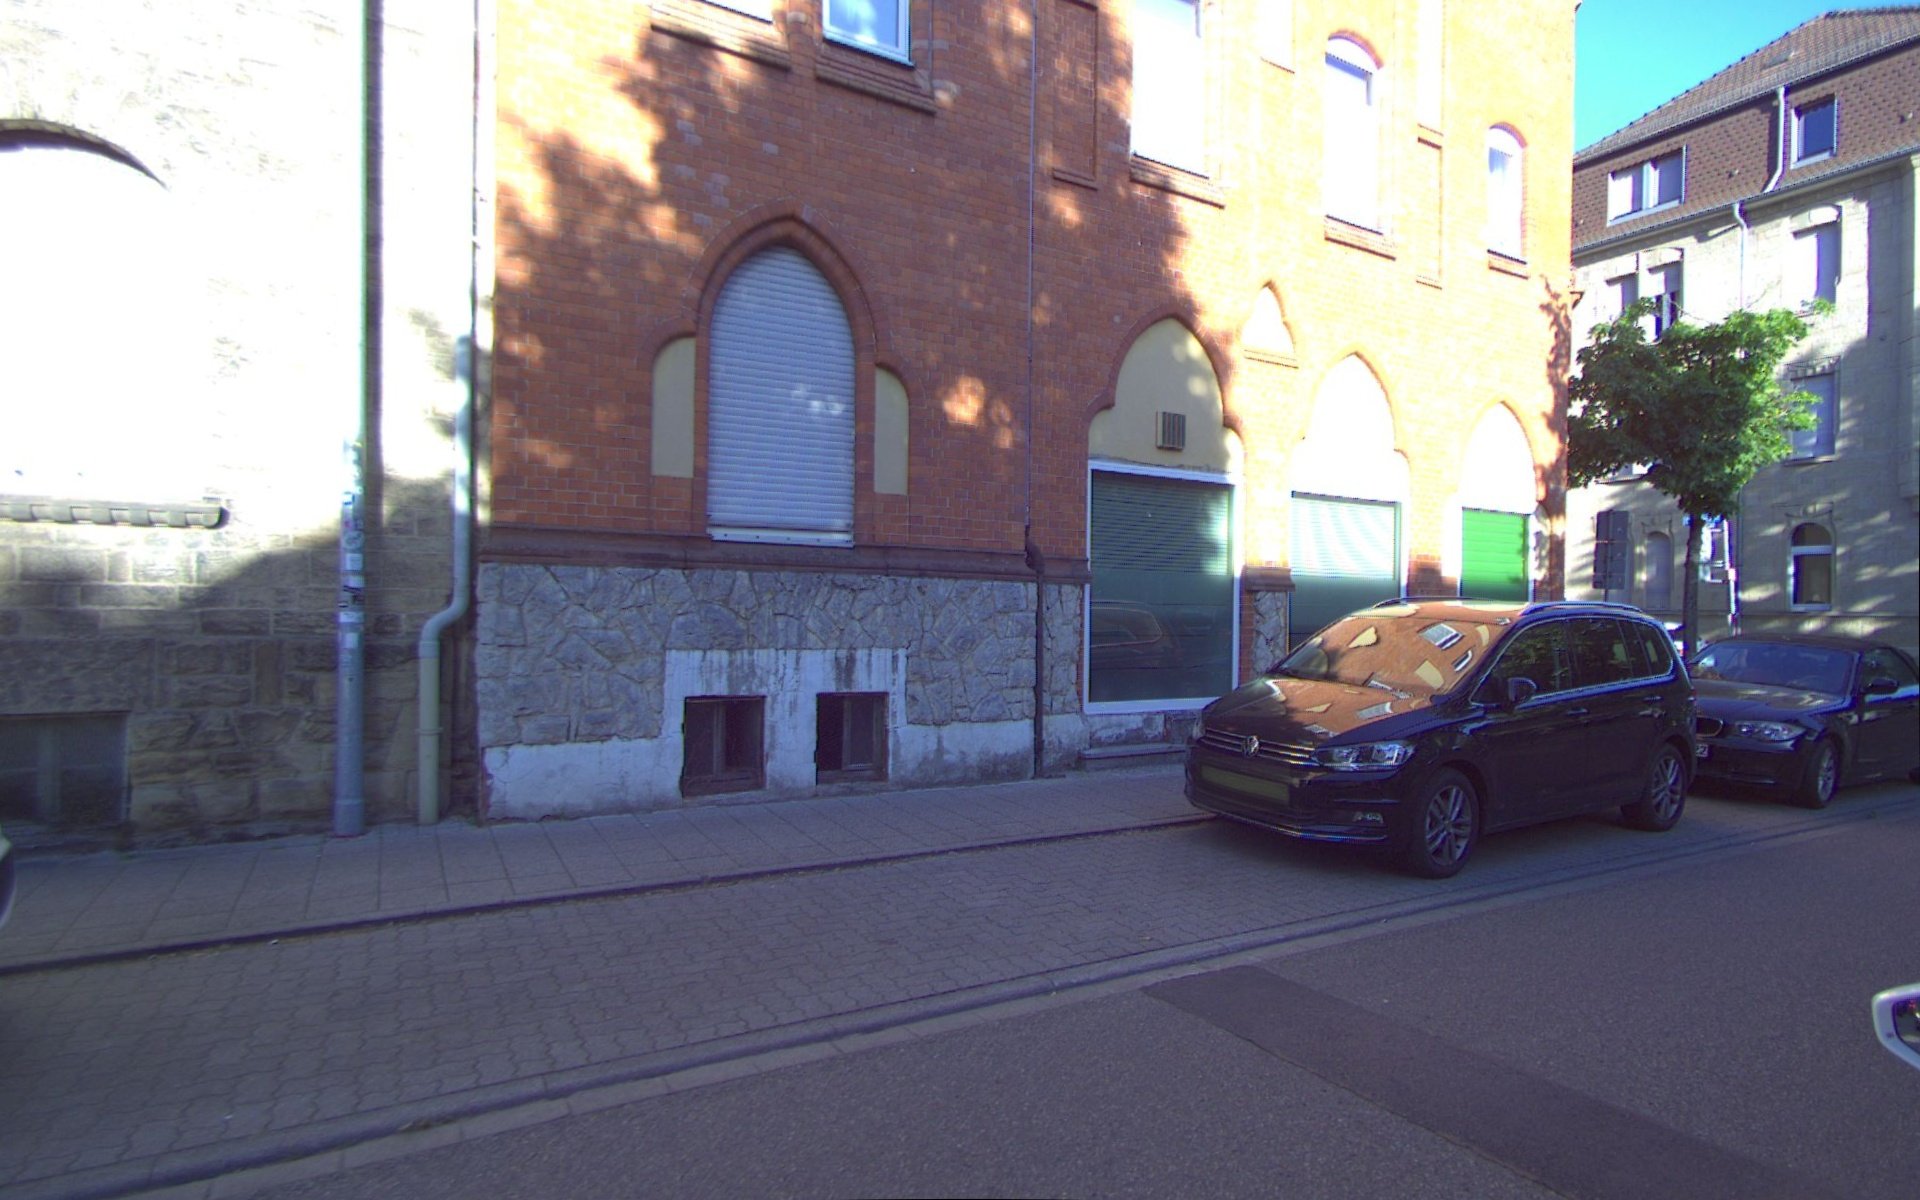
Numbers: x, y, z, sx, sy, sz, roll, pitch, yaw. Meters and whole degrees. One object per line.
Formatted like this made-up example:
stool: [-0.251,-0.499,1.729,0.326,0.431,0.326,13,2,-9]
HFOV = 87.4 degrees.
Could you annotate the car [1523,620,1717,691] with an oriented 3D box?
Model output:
car: [16.686,1.348,25.567,1.699,1.571,3.776,-2,1,-31]

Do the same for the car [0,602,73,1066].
car: [-4.618,0.742,2.328,3.546,1.490,1.560,1,0,-28]

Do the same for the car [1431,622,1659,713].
car: [11.009,1.215,18.813,4.603,1.488,1.628,2,0,-30]

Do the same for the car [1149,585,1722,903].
car: [3.549,0.814,7.235,4.302,1.703,1.660,2,0,-32]

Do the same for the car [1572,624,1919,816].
car: [7.989,1.022,9.742,4.282,1.429,1.628,2,1,-30]
